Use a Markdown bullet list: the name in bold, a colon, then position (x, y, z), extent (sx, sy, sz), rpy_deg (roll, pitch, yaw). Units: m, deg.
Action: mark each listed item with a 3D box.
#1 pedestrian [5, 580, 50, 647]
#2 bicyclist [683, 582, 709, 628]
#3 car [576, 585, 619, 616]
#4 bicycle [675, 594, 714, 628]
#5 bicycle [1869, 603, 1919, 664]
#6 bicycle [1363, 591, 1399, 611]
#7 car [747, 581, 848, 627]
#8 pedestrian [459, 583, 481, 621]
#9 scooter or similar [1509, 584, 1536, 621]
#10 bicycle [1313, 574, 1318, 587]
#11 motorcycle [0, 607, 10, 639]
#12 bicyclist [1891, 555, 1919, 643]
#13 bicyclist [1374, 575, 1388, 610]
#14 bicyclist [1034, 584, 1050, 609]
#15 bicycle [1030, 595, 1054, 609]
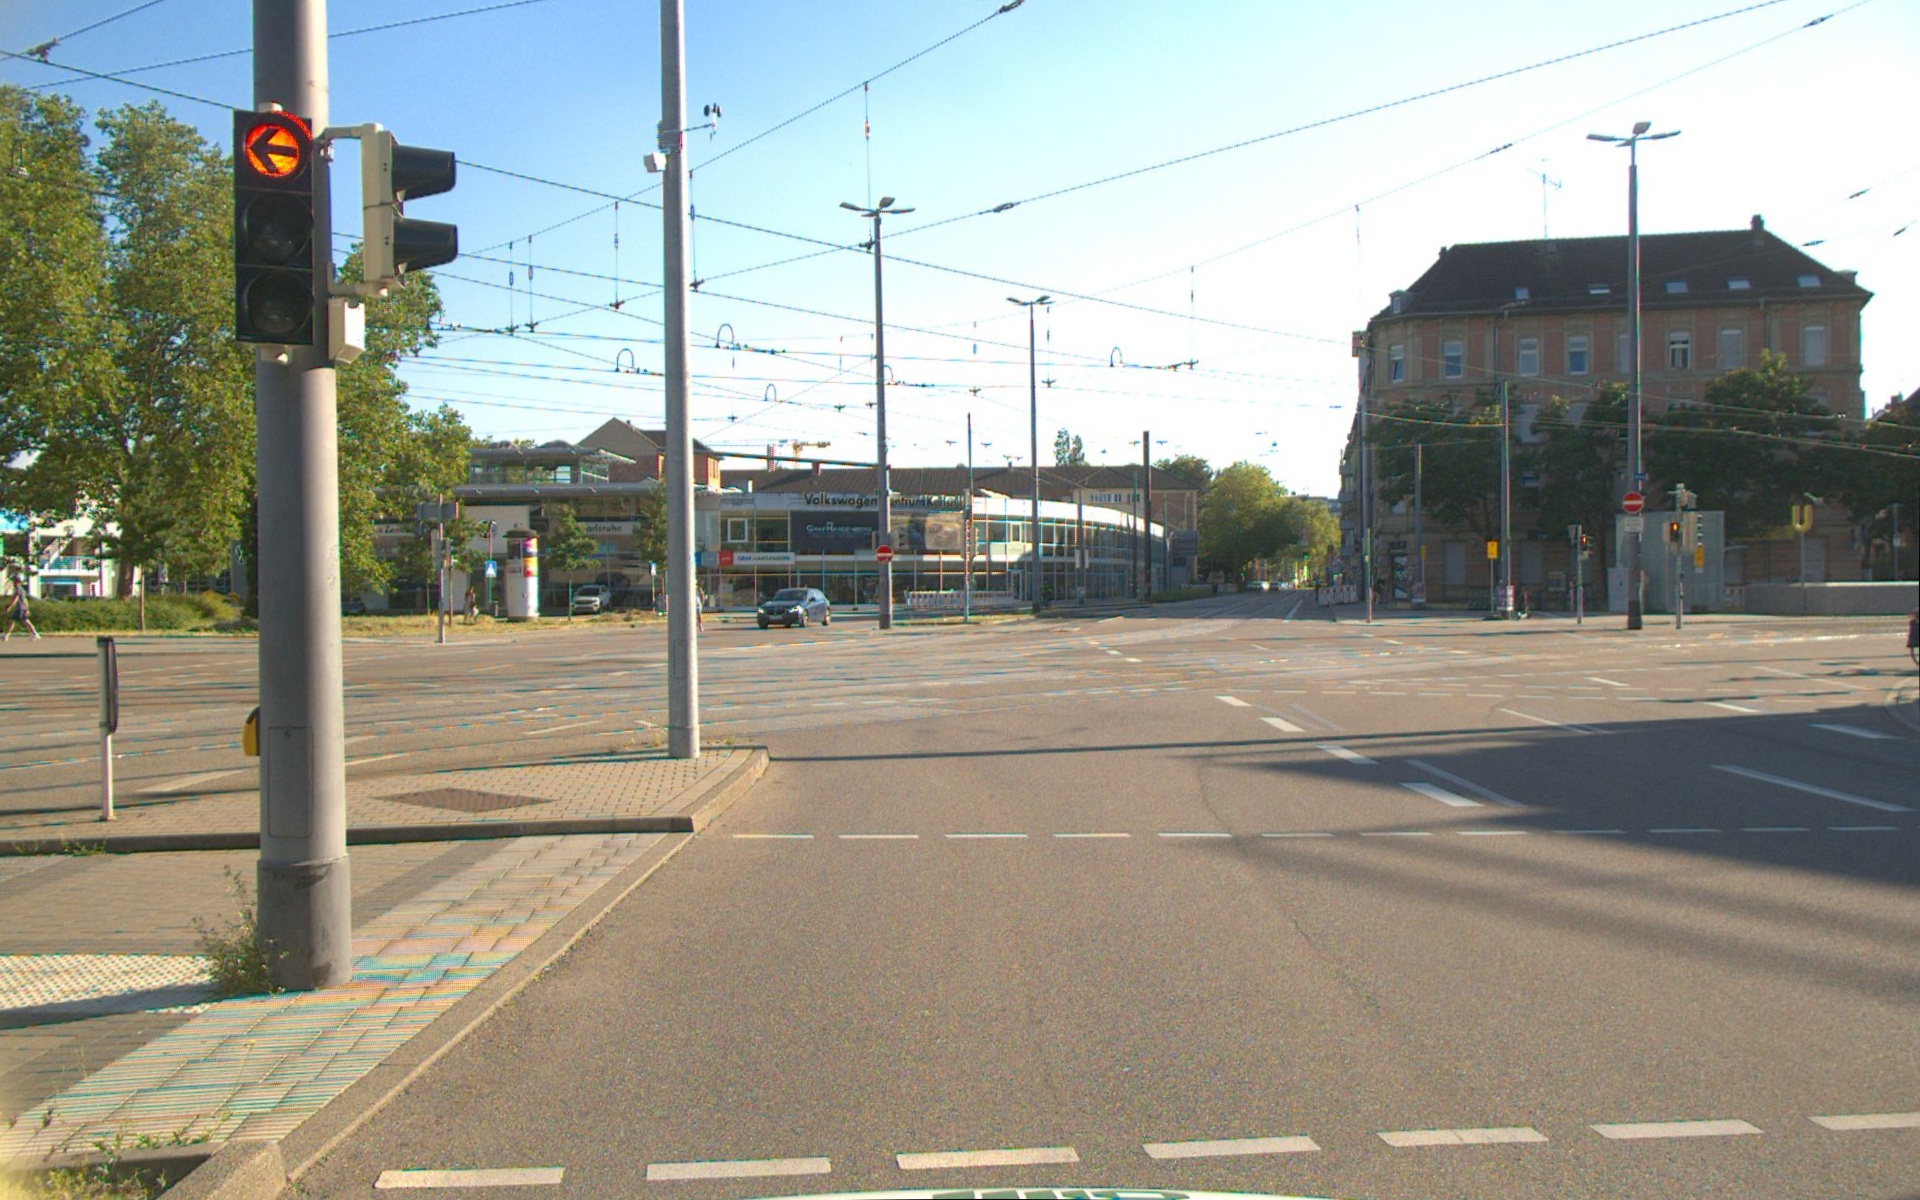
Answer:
- **pedestrian**: position (-26.941, 0.381, 47.796), extent (0.777, 1.919, 0.759), rpy_deg (1, -1, 6)
- **bicyclist**: position (-9.523, 0.175, 59.635), extent (0.585, 1.644, 0.823), rpy_deg (1, -1, 17)
- **car**: position (-21.663, 0.032, 98.951), extent (1.954, 1.780, 3.997), rpy_deg (1, 0, -4)
- **bicycle**: position (-9.550, 0.399, 59.545), extent (0.599, 1.210, 1.870), rpy_deg (1, 0, 17)
- **bicycle**: position (17.570, 0.621, 30.046), extent (0.524, 1.067, 2.316), rpy_deg (1, 1, -9)
- **bicycle**: position (20.558, 0.051, 80.736), extent (1.566, 0.969, 0.657), rpy_deg (1, 0, 33)
- **car**: position (-6.011, 0.164, 61.605), extent (1.954, 1.613, 3.996), rpy_deg (1, 0, 26)
- **pedestrian**: position (-22.808, 0.095, 77.031), extent (0.839, 1.723, 0.496), rpy_deg (1, -1, -3)
- **scooter or similar**: position (21.595, 0.096, 63.501), extent (0.769, 1.400, 1.910), rpy_deg (1, 0, 13)
- **bicycle**: position (27.376, -1.521, 127.379), extent (0.401, 0.958, 1.847), rpy_deg (1, 0, 12)
- **motorcycle**: position (-28.925, 0.669, 48.498), extent (1.748, 0.930, 0.675), rpy_deg (1, 0, -21)
- **bicyclist**: position (17.560, -0.019, 30.195), extent (0.505, 1.584, 0.945), rpy_deg (1, 0, -9)
- **bicyclist**: position (20.566, -0.366, 80.743), extent (0.505, 1.730, 0.519), rpy_deg (1, -1, 33)
- **bicyclist**: position (5.212, -0.233, 105.304), extent (0.641, 1.600, 0.921), rpy_deg (1, -1, 28)
- **bicycle**: position (5.226, 0.126, 105.332), extent (0.626, 0.885, 2.231), rpy_deg (1, 0, 29)
